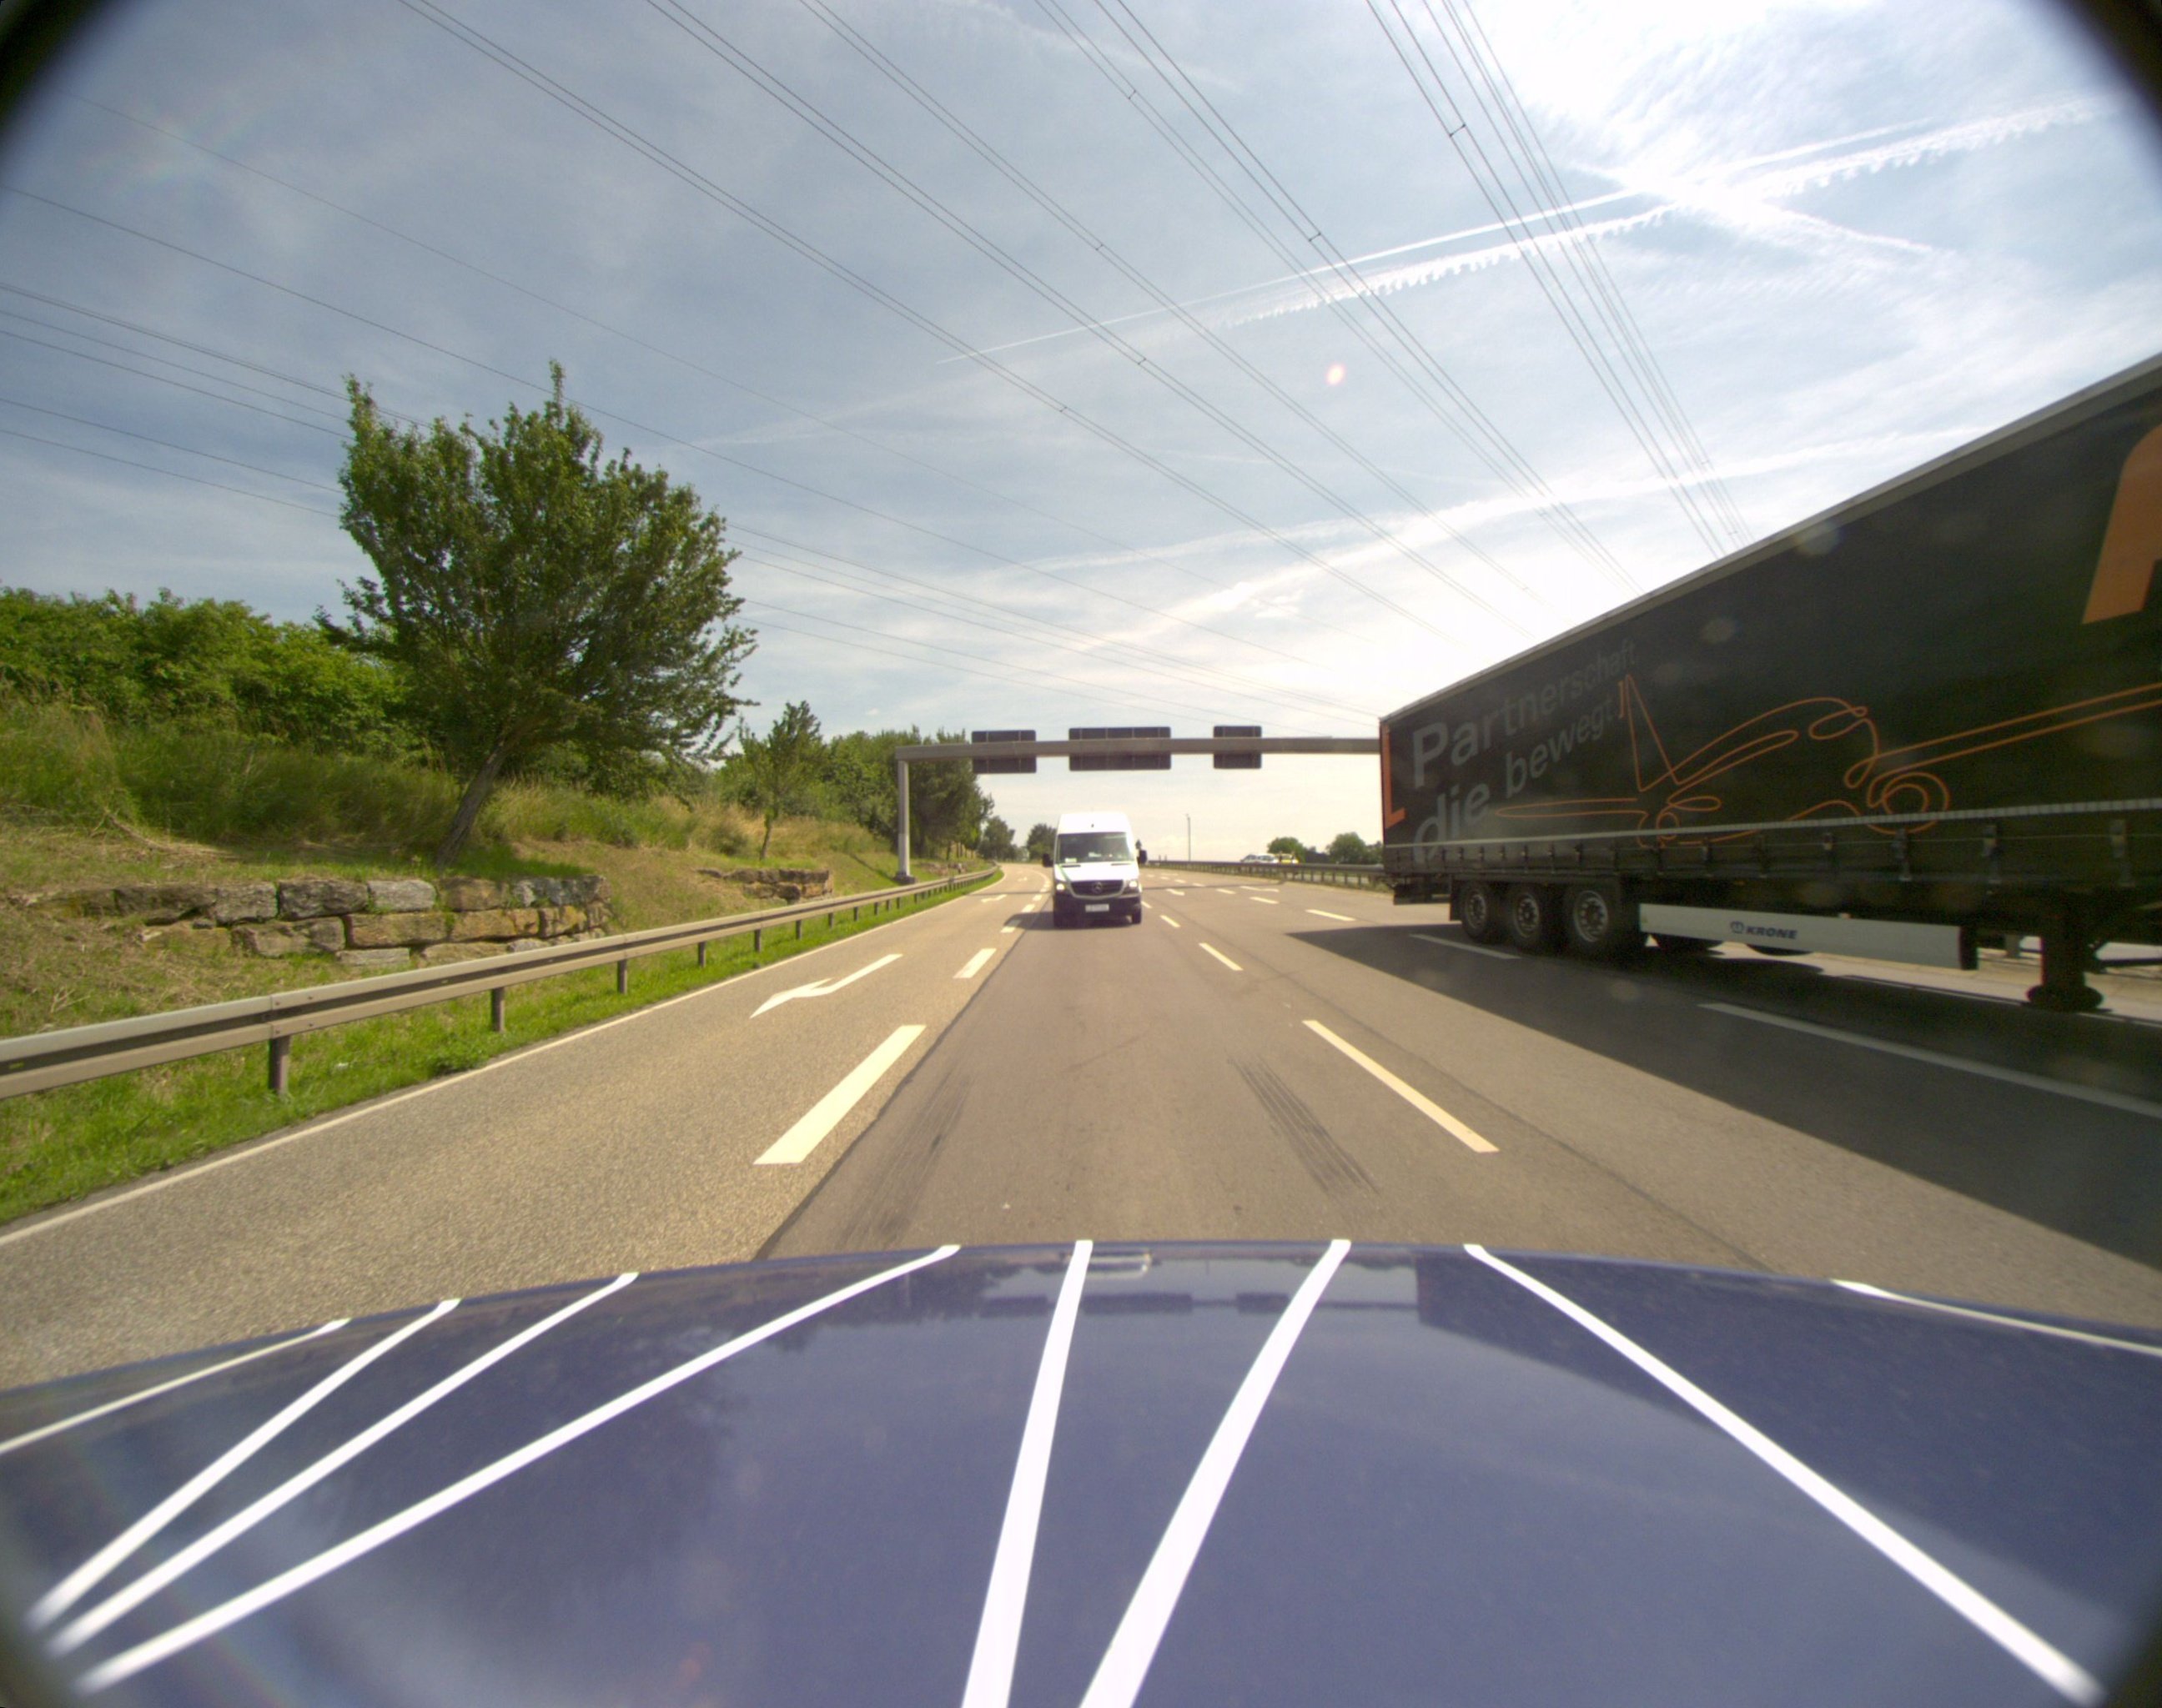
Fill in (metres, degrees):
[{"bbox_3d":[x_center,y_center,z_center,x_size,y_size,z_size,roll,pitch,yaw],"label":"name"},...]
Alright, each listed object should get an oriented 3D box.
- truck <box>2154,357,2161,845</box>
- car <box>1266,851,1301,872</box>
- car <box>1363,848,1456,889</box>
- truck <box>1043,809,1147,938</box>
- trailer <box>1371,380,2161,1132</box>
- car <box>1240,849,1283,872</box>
[{"bbox_3d":[7.009,-0.592,0.973,2.790,3.990,5.970,-2,0,0],"label":"truck"},{"bbox_3d":[14.909,0.562,56.178,1.518,1.472,3.703,1,0,-1],"label":"car"},{"bbox_3d":[12.938,0.513,30.247,1.740,1.495,4.323,1,0,-1],"label":"car"},{"bbox_3d":[0.310,0.375,17.669,1.998,2.518,5.105,-2,0,1],"label":"truck"},{"bbox_3d":[7.006,-0.557,7.628,2.790,3.891,13.785,-2,0,0],"label":"trailer"},{"bbox_3d":[12.056,0.407,50.978,1.740,1.434,4.323,1,0,-1],"label":"car"}]
